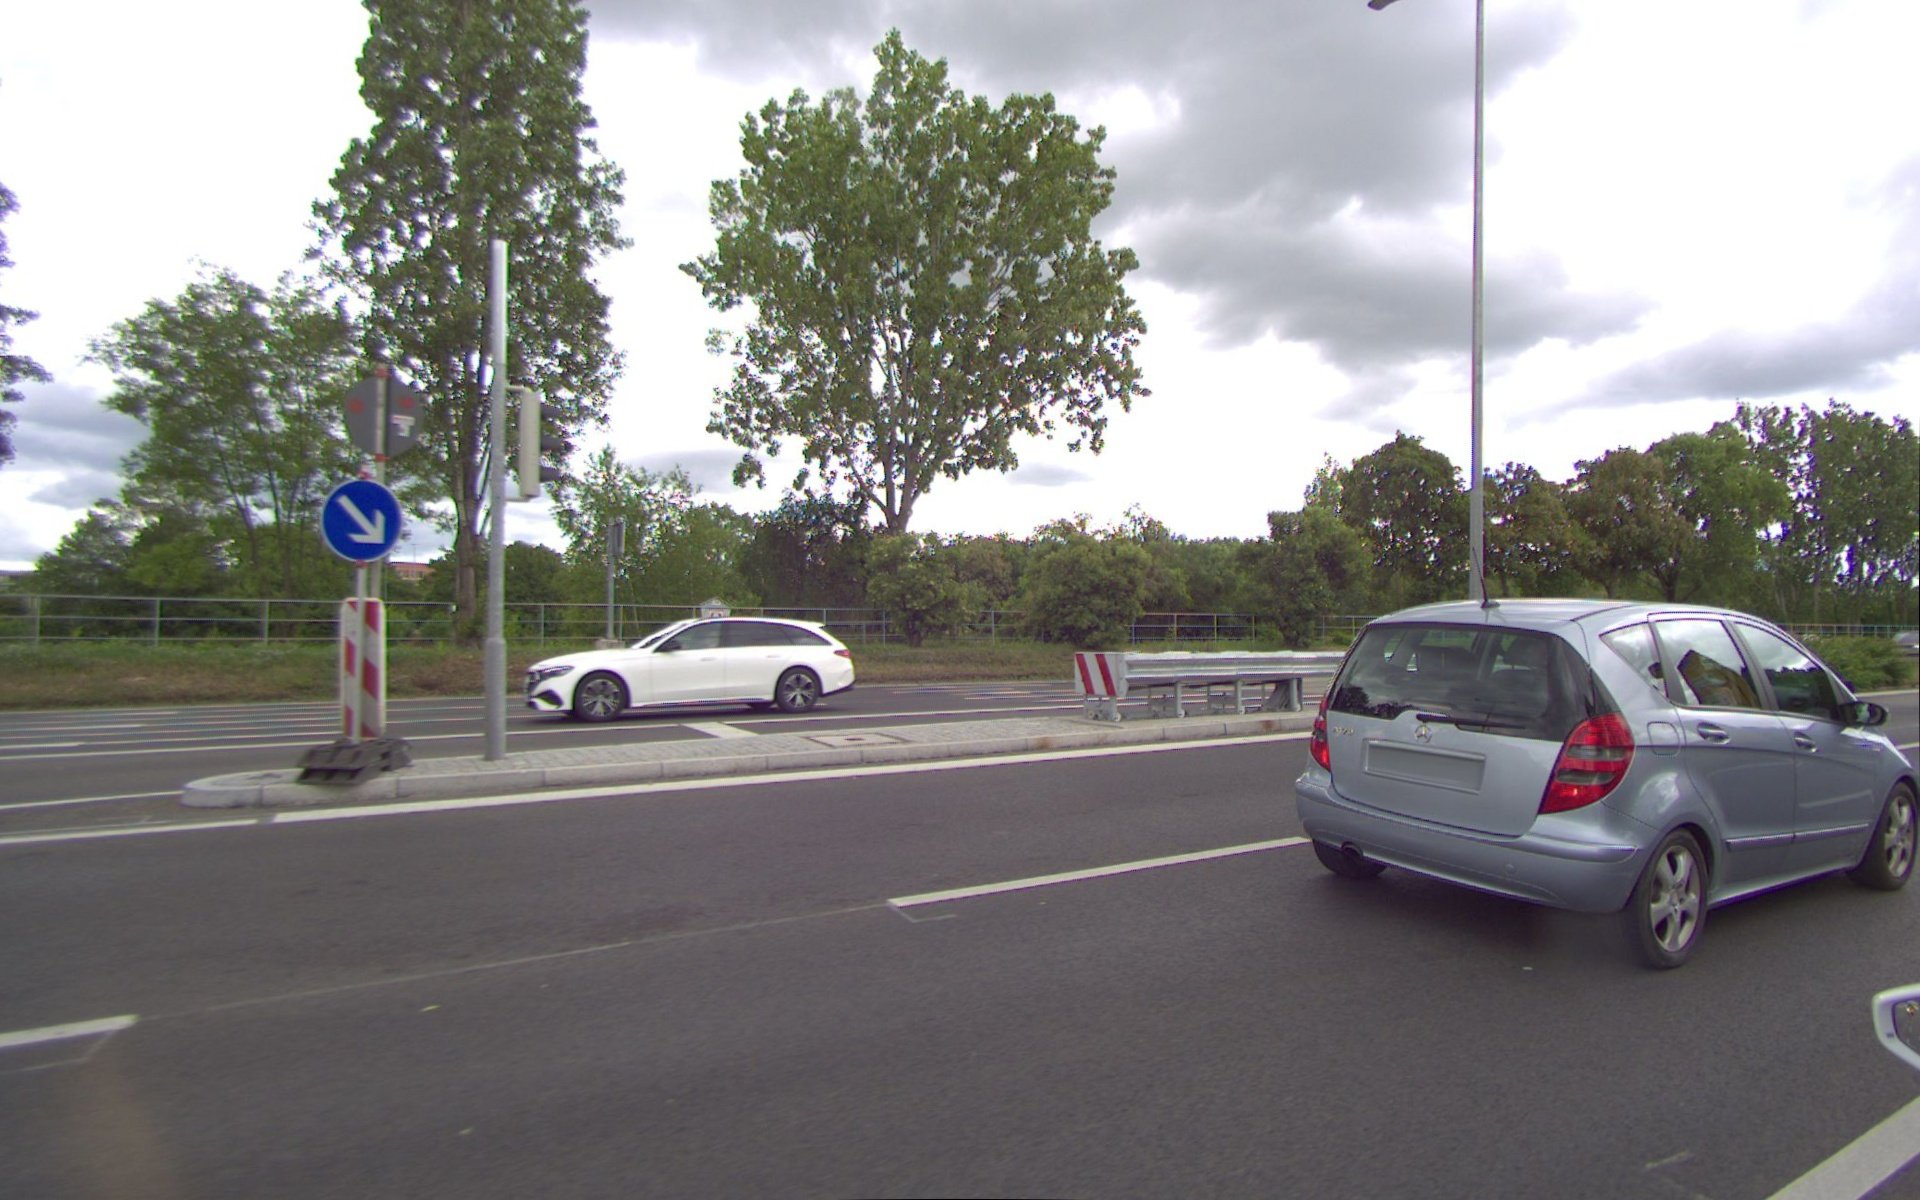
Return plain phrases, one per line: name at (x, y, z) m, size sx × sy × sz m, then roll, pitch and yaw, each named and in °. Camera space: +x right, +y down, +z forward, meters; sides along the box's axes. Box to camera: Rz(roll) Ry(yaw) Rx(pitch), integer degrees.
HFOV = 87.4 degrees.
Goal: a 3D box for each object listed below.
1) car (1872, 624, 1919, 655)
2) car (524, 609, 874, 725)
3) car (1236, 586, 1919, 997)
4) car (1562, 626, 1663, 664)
car at (46.407, 1.898, 48.994) m, size 4.019 × 1.437 × 1.768 m, roll 1°, pitch -1°, yaw -30°
car at (-3.915, 0.964, 15.417) m, size 4.945 × 1.545 × 1.689 m, roll 1°, pitch -3°, yaw -31°
car at (3.715, 0.765, 5.703) m, size 4.099 × 1.559 × 1.869 m, roll 1°, pitch -1°, yaw -31°
car at (27.069, 1.829, 41.646) m, size 4.320 × 1.437 × 1.915 m, roll 1°, pitch -1°, yaw -32°
